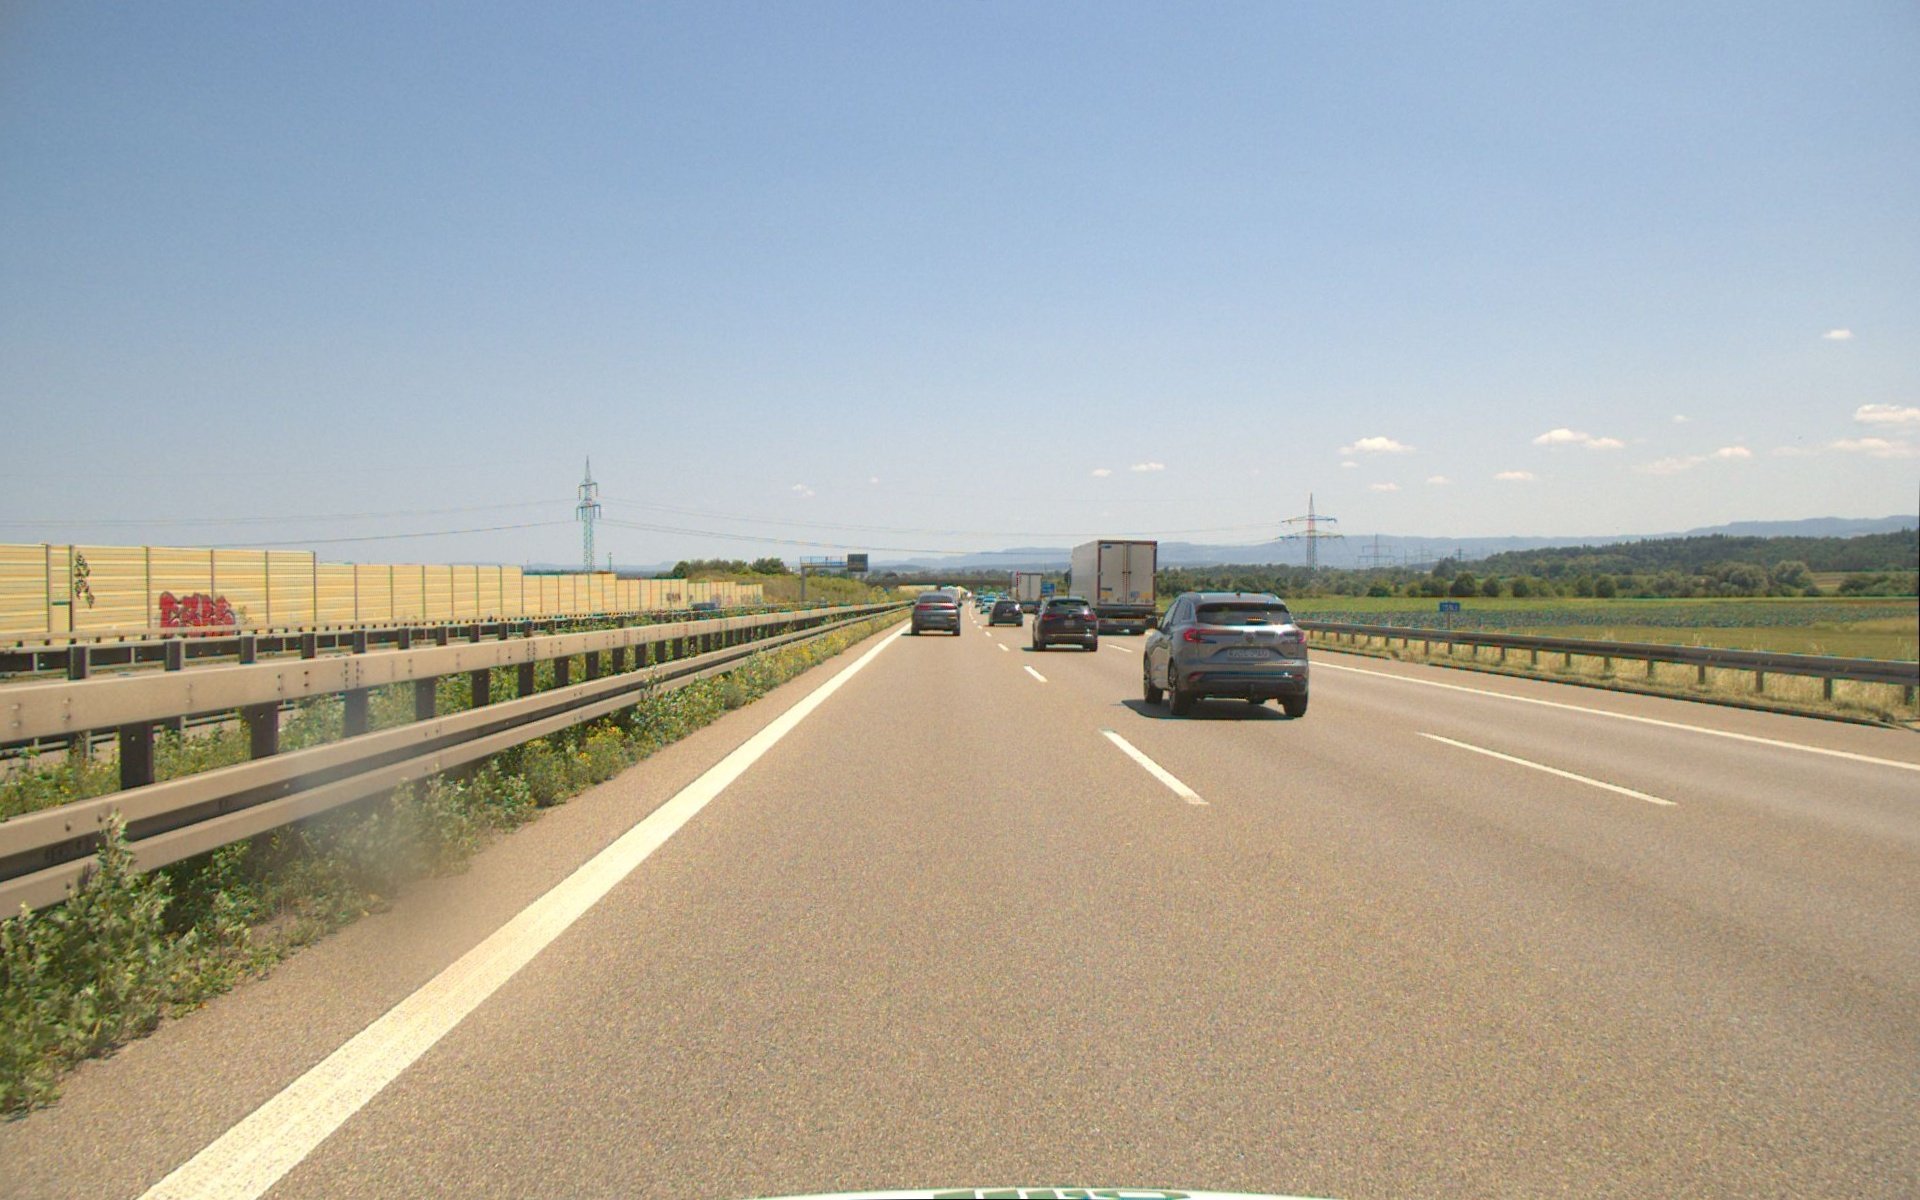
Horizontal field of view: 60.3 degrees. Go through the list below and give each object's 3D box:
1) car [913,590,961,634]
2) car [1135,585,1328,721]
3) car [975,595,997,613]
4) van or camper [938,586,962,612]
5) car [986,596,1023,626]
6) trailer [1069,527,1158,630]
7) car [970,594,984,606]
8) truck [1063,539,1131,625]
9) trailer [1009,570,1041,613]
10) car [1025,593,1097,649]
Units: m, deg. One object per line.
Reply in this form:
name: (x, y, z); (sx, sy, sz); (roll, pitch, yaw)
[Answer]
car: (-0.935, 0.468, 66.055); (1.814, 1.693, 3.733); (1, 0, -2)
car: (3.651, 0.677, 23.067); (1.814, 1.677, 4.643); (1, 0, -1)
car: (2.438, 0.379, 154.957); (1.952, 1.712, 4.000); (1, 0, 1)
van or camper: (-0.875, -0.051, 150.380); (2.067, 2.250, 5.265); (1, 0, 1)
car: (2.416, 0.603, 90.695); (1.893, 1.602, 4.934); (1, 0, 0)
trailer: (6.936, -0.873, 76.614); (2.809, 4.294, 13.293); (1, 0, 0)
car: (2.477, -0.001, 236.930); (1.952, 1.712, 4.000); (1, 0, 1)
truck: (6.930, -0.857, 84.748); (2.804, 4.163, 6.878); (1, 0, 0)
trailer: (6.690, -0.794, 170.851); (2.882, 4.271, 13.597); (1, 0, 1)
car: (2.969, 0.606, 49.442); (1.760, 1.589, 3.822); (1, 0, -2)
